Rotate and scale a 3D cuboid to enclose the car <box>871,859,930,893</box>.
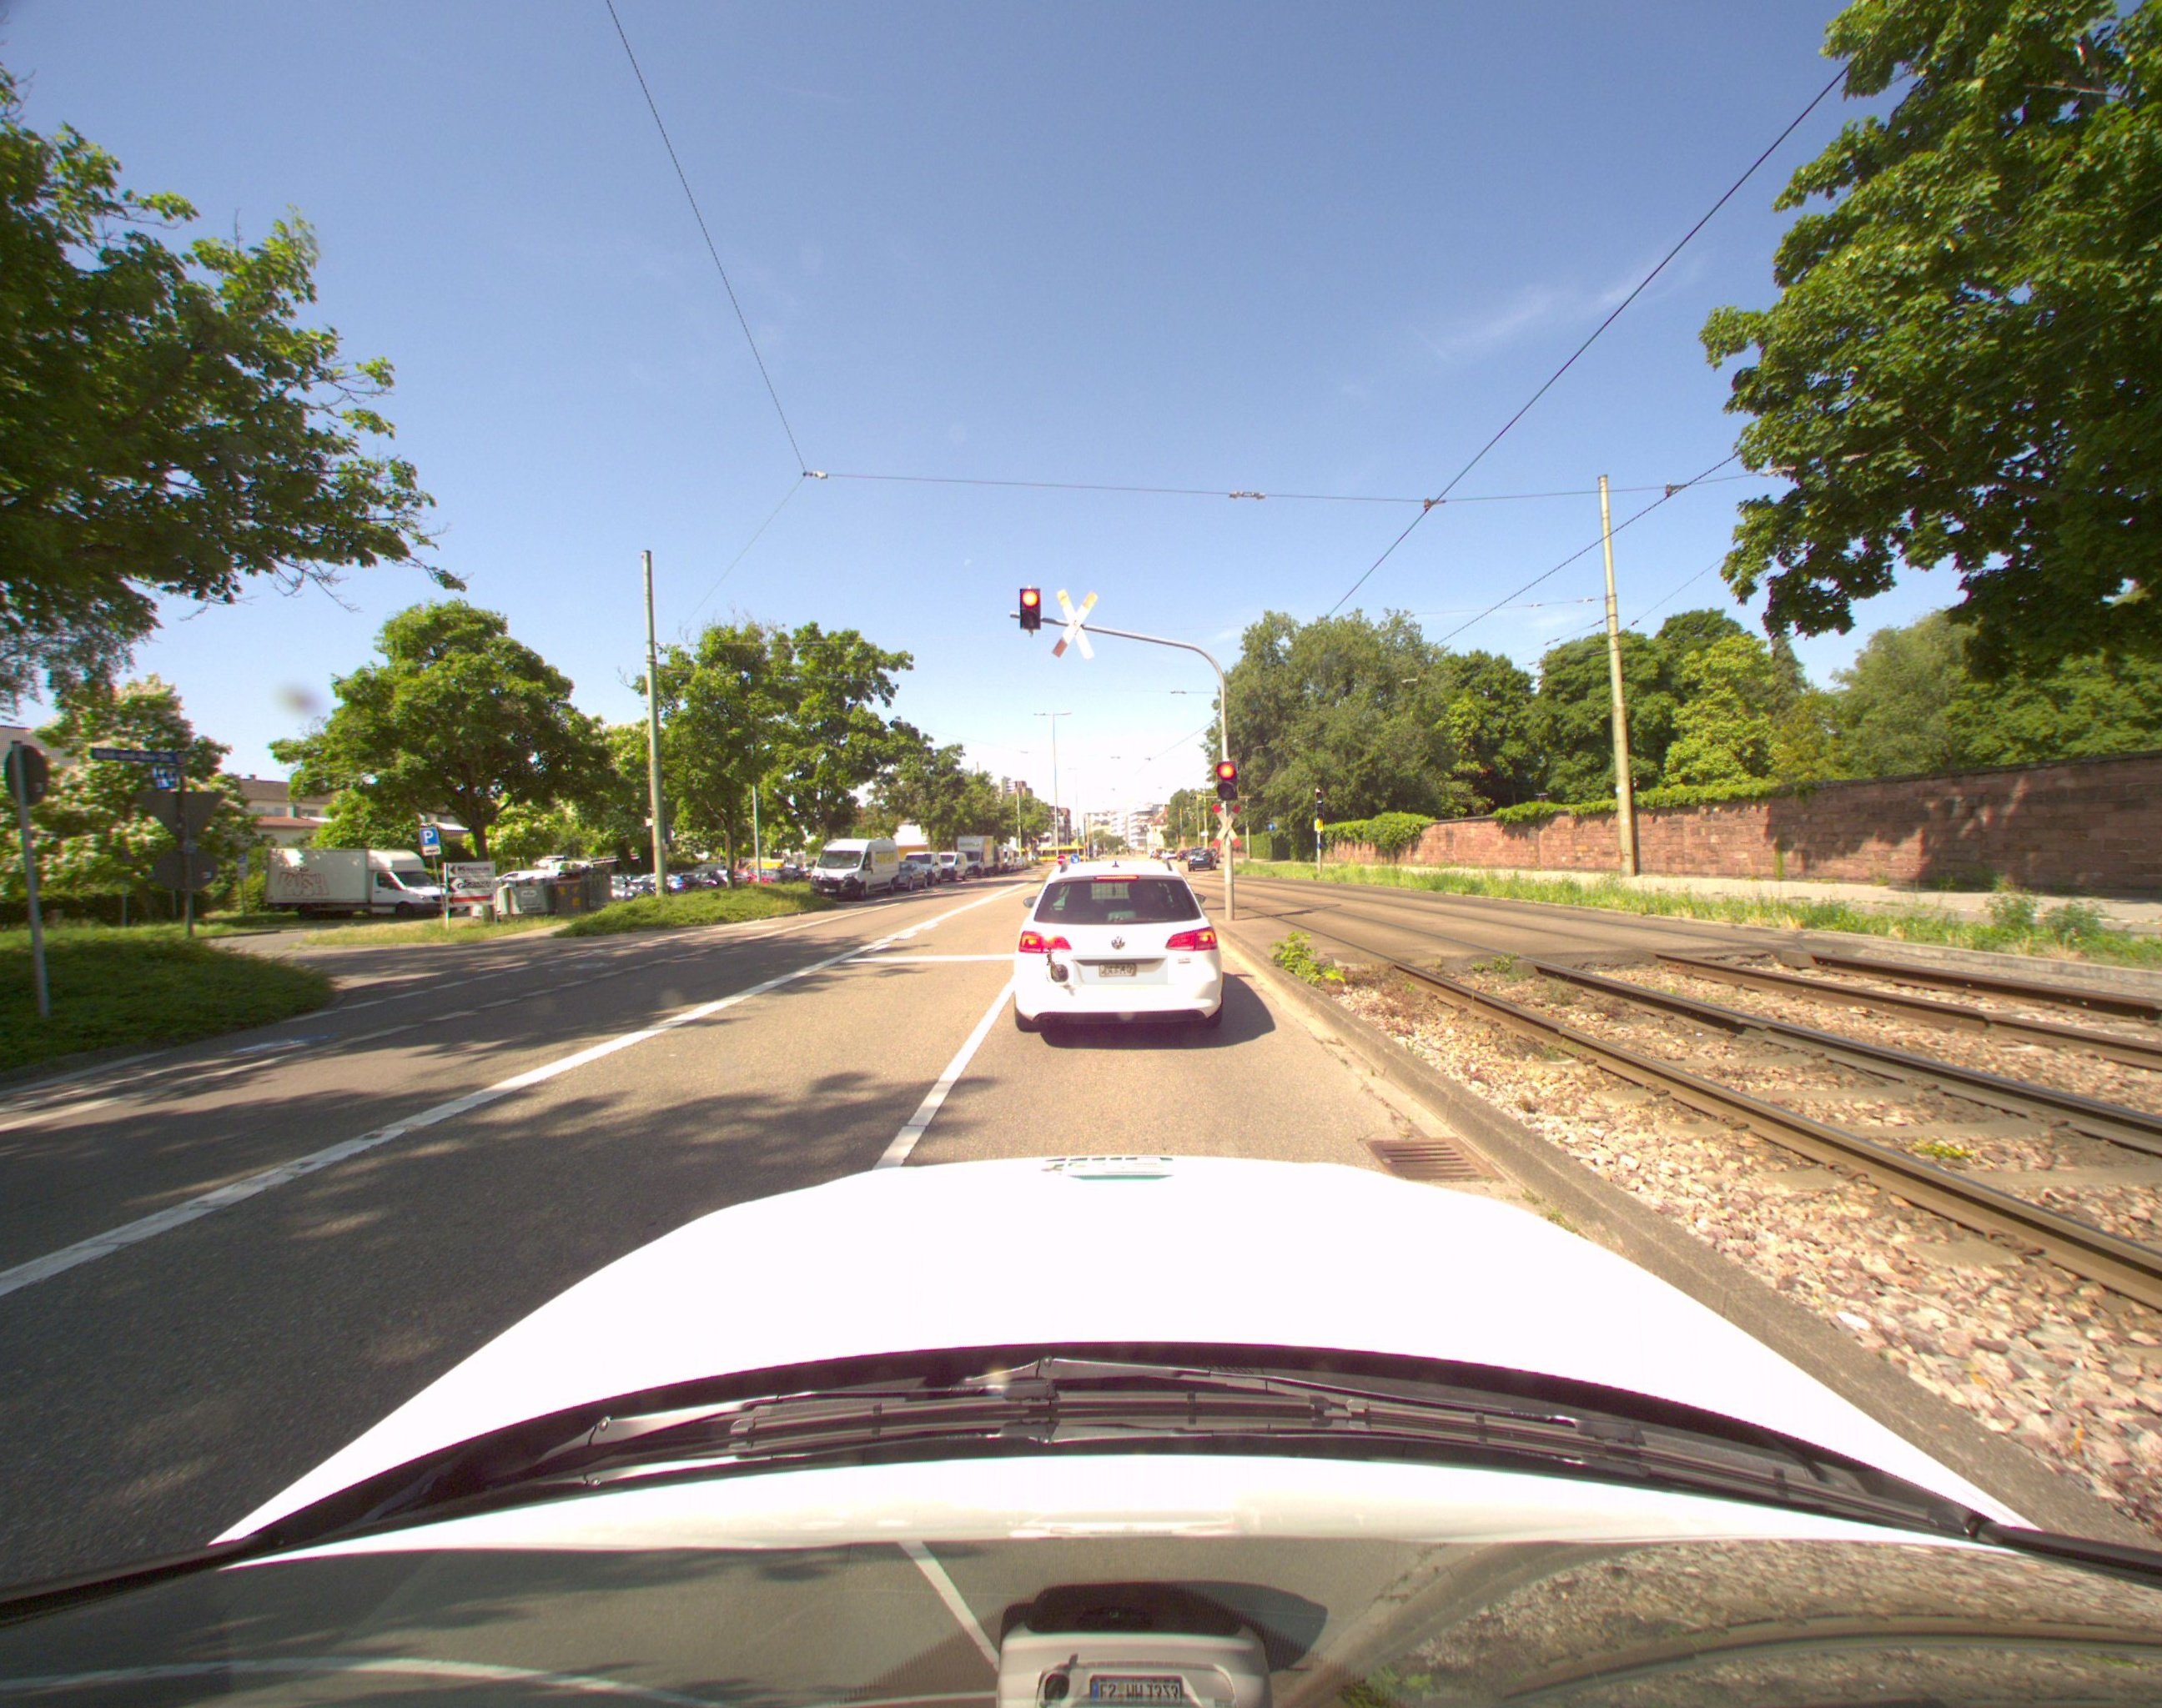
[{"bbox_3d":[-8.951,1.054,40.749,1.837,1.516,4.199,-3,0,2],"label":"car"}]

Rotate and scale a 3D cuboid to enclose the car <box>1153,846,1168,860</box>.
[{"bbox_3d":[15.305,-0.161,157.279,2.454,2.499,5.912,0,-1,2],"label":"car"}]

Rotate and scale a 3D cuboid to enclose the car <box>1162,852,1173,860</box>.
[{"bbox_3d":[14.299,0.393,134.783,1.576,1.346,3.455,0,-1,2],"label":"car"}]

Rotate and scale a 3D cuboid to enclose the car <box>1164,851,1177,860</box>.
[{"bbox_3d":[13.687,0.266,124.607,1.576,1.346,3.455,0,-1,2],"label":"car"}]

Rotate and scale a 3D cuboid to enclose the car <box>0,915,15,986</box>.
[{"bbox_3d":[-23.918,2.045,16.075,3.964,1.418,1.715,-3,0,8],"label":"car"}]

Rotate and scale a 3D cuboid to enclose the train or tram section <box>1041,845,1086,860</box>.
[{"bbox_3d":[-3.882,-0.252,175.243,11.131,3.253,2.323,-1,-1,42],"label":"train or tram section"}]

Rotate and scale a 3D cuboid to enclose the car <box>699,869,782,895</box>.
[{"bbox_3d":[-19.501,1.588,46.707,3.969,1.264,1.773,-3,0,4],"label":"car"}]

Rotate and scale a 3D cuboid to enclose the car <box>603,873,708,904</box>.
[{"bbox_3d":[-19.982,1.596,38.324,3.969,1.225,1.773,-3,0,4],"label":"car"}]

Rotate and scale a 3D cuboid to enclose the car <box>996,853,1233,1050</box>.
[{"bbox_3d":[0.287,0.725,8.009,1.762,1.446,3.914,0,0,1],"label":"car"}]

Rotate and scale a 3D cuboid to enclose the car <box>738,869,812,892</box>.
[{"bbox_3d":[-19.442,1.656,51.863,3.969,1.225,1.773,-3,0,4],"label":"car"}]

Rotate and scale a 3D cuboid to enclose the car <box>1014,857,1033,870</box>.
[{"bbox_3d":[-6.923,1.177,98.646,1.774,1.433,4.039,-3,0,2],"label":"car"}]

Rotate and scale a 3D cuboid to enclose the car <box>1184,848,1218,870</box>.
[{"bbox_3d":[7.972,0.321,53.730,1.733,1.388,3.929,0,0,16],"label":"car"}]

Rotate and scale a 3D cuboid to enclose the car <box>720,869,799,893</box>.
[{"bbox_3d":[-19.458,1.601,49.350,3.969,1.225,1.773,-3,0,4],"label":"car"}]

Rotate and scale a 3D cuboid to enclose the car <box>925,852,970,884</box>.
[{"bbox_3d":[-8.767,0.871,53.879,1.836,1.960,5.137,-3,0,2],"label":"car"}]

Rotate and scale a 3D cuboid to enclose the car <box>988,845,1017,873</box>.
[{"bbox_3d":[-7.478,0.478,77.908,1.836,2.494,5.860,-3,0,2],"label":"car"}]

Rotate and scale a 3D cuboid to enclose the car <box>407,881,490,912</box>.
[{"bbox_3d":[-32.437,2.158,41.823,3.118,1.432,1.560,1,0,5],"label":"car"}]

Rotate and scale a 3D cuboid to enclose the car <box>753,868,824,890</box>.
[{"bbox_3d":[-19.394,1.623,54.133,3.969,1.225,1.773,-3,0,4],"label":"car"}]

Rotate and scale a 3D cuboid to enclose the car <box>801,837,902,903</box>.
[{"bbox_3d":[-9.514,0.592,34.479,2.049,2.501,6.315,0,0,4],"label":"car"}]

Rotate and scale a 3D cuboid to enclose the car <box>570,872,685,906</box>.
[{"bbox_3d":[-19.791,1.521,35.626,3.974,1.225,1.771,-3,0,0],"label":"car"}]

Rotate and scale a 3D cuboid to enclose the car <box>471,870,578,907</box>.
[{"bbox_3d":[-31.987,1.959,46.891,4.683,2.014,1.998,0,-1,-4],"label":"car"}]

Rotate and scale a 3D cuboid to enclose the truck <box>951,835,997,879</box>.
[{"bbox_3d":[-8.142,0.188,62.451,2.348,3.122,6.893,-3,0,1],"label":"truck"}]

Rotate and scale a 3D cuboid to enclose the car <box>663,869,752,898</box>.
[{"bbox_3d":[-20.203,1.586,44.119,3.969,1.350,1.773,-3,0,4],"label":"car"}]

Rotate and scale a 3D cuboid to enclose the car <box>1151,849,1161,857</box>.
[{"bbox_3d":[15.658,-0.163,170.385,1.986,1.596,4.002,0,-1,2],"label":"car"}]

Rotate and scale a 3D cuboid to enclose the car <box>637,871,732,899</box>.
[{"bbox_3d":[-20.188,1.569,41.549,3.969,1.225,1.773,-3,0,4],"label":"car"}]

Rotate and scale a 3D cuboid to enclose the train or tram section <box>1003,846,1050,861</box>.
[{"bbox_3d":[-12.174,-0.177,181.031,10.672,3.253,2.322,0,-1,26],"label":"train or tram section"}]

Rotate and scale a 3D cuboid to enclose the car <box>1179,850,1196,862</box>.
[{"bbox_3d":[13.238,0.240,101.038,1.739,1.407,3.915,0,0,2],"label":"car"}]

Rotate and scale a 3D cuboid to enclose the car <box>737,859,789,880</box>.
[{"bbox_3d":[-31.060,1.476,79.671,4.249,2.014,1.997,0,-1,-5],"label":"car"}]

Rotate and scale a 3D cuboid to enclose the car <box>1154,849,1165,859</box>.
[{"bbox_3d":[13.829,-0.024,142.871,1.685,1.812,3.455,0,-1,1],"label":"car"}]

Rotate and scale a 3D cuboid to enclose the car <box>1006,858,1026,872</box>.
[{"bbox_3d":[-7.380,1.222,92.764,1.837,1.433,4.039,-3,0,2],"label":"car"}]

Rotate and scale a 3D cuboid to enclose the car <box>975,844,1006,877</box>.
[{"bbox_3d":[-7.785,0.543,70.310,1.836,2.668,5.006,-3,0,2],"label":"car"}]

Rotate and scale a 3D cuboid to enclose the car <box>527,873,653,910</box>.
[{"bbox_3d":[-19.872,1.491,33.060,3.974,1.225,1.771,-3,0,0],"label":"car"}]

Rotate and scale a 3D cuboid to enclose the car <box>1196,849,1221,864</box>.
[{"bbox_3d":[11.798,0.225,75.631,1.853,1.416,4.328,0,0,3],"label":"car"}]

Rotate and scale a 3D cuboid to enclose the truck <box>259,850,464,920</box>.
[{"bbox_3d":[-32.320,1.349,36.740,7.119,3.019,2.231,0,0,-1],"label":"truck"}]

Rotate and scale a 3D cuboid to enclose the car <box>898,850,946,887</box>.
[{"bbox_3d":[-9.169,0.780,47.300,1.839,1.937,5.190,-3,0,-2],"label":"car"}]

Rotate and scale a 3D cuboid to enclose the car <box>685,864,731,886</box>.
[{"bbox_3d":[-34.183,1.910,74.652,3.412,1.876,1.552,-3,0,0],"label":"car"}]
